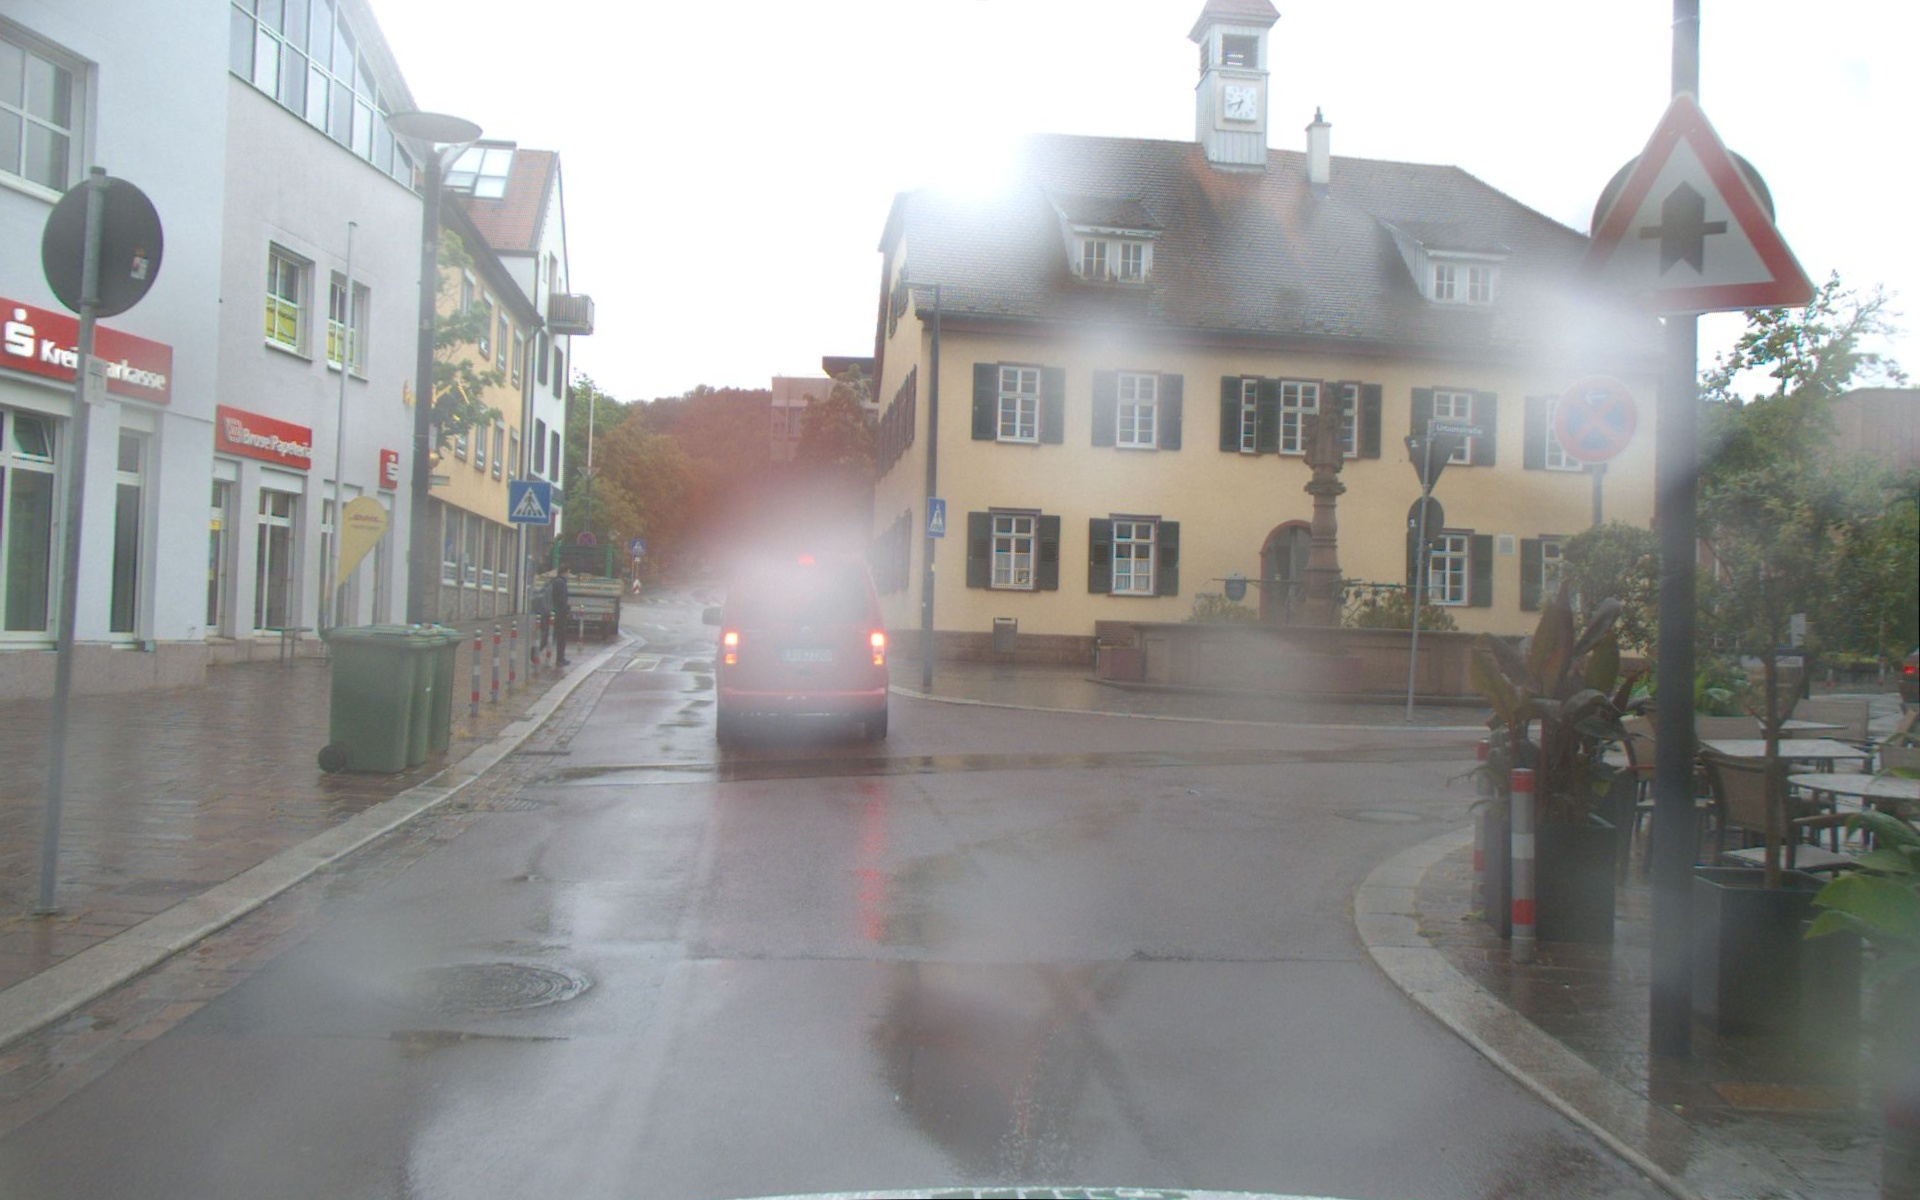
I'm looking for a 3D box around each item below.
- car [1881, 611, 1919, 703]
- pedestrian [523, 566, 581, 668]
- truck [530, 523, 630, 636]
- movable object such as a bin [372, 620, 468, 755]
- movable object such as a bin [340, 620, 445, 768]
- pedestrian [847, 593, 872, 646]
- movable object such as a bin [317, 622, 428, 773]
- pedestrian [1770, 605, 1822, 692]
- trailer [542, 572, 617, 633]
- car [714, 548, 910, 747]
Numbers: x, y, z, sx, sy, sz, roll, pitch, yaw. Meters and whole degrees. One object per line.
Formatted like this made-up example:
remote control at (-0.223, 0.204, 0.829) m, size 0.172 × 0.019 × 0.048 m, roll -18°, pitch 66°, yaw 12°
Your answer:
car at (16.058, 0.905, 26.489) m, size 1.642 × 1.387 × 3.587 m, roll 1°, pitch 0°, yaw 40°
pedestrian at (-7.047, 0.293, 28.593) m, size 0.849 × 1.722 × 0.715 m, roll 1°, pitch 0°, yaw -8°
truck at (-10.410, -0.592, 45.341) m, size 2.431 × 2.843 × 6.578 m, roll 1°, pitch 1°, yaw -13°
movable object such as a bin at (-4.617, 0.736, 14.171) m, size 0.646 × 1.115 × 0.612 m, roll 1°, pitch -1°, yaw -6°
movable object such as a bin at (-4.483, 0.736, 13.097) m, size 0.645 × 1.134 × 0.552 m, roll 1°, pitch -1°, yaw -4°
pedestrian at (-3.110, 0.603, 51.278) m, size 0.714 × 1.645 × 0.693 m, roll 1°, pitch -1°, yaw -6°
movable object such as a bin at (-4.437, 0.728, 12.529) m, size 0.645 × 1.101 × 0.552 m, roll 1°, pitch -1°, yaw -4°
pedestrian at (18.316, 1.053, 36.229) m, size 0.678 × 1.853 × 0.783 m, roll 1°, pitch -1°, yaw -35°
trailer at (-9.330, 0.040, 40.601) m, size 1.698 × 1.370 × 3.150 m, roll 1°, pitch 1°, yaw -13°
car at (-1.700, 0.445, 17.680) m, size 1.827 × 1.862 × 4.177 m, roll 1°, pitch 0°, yaw -9°
